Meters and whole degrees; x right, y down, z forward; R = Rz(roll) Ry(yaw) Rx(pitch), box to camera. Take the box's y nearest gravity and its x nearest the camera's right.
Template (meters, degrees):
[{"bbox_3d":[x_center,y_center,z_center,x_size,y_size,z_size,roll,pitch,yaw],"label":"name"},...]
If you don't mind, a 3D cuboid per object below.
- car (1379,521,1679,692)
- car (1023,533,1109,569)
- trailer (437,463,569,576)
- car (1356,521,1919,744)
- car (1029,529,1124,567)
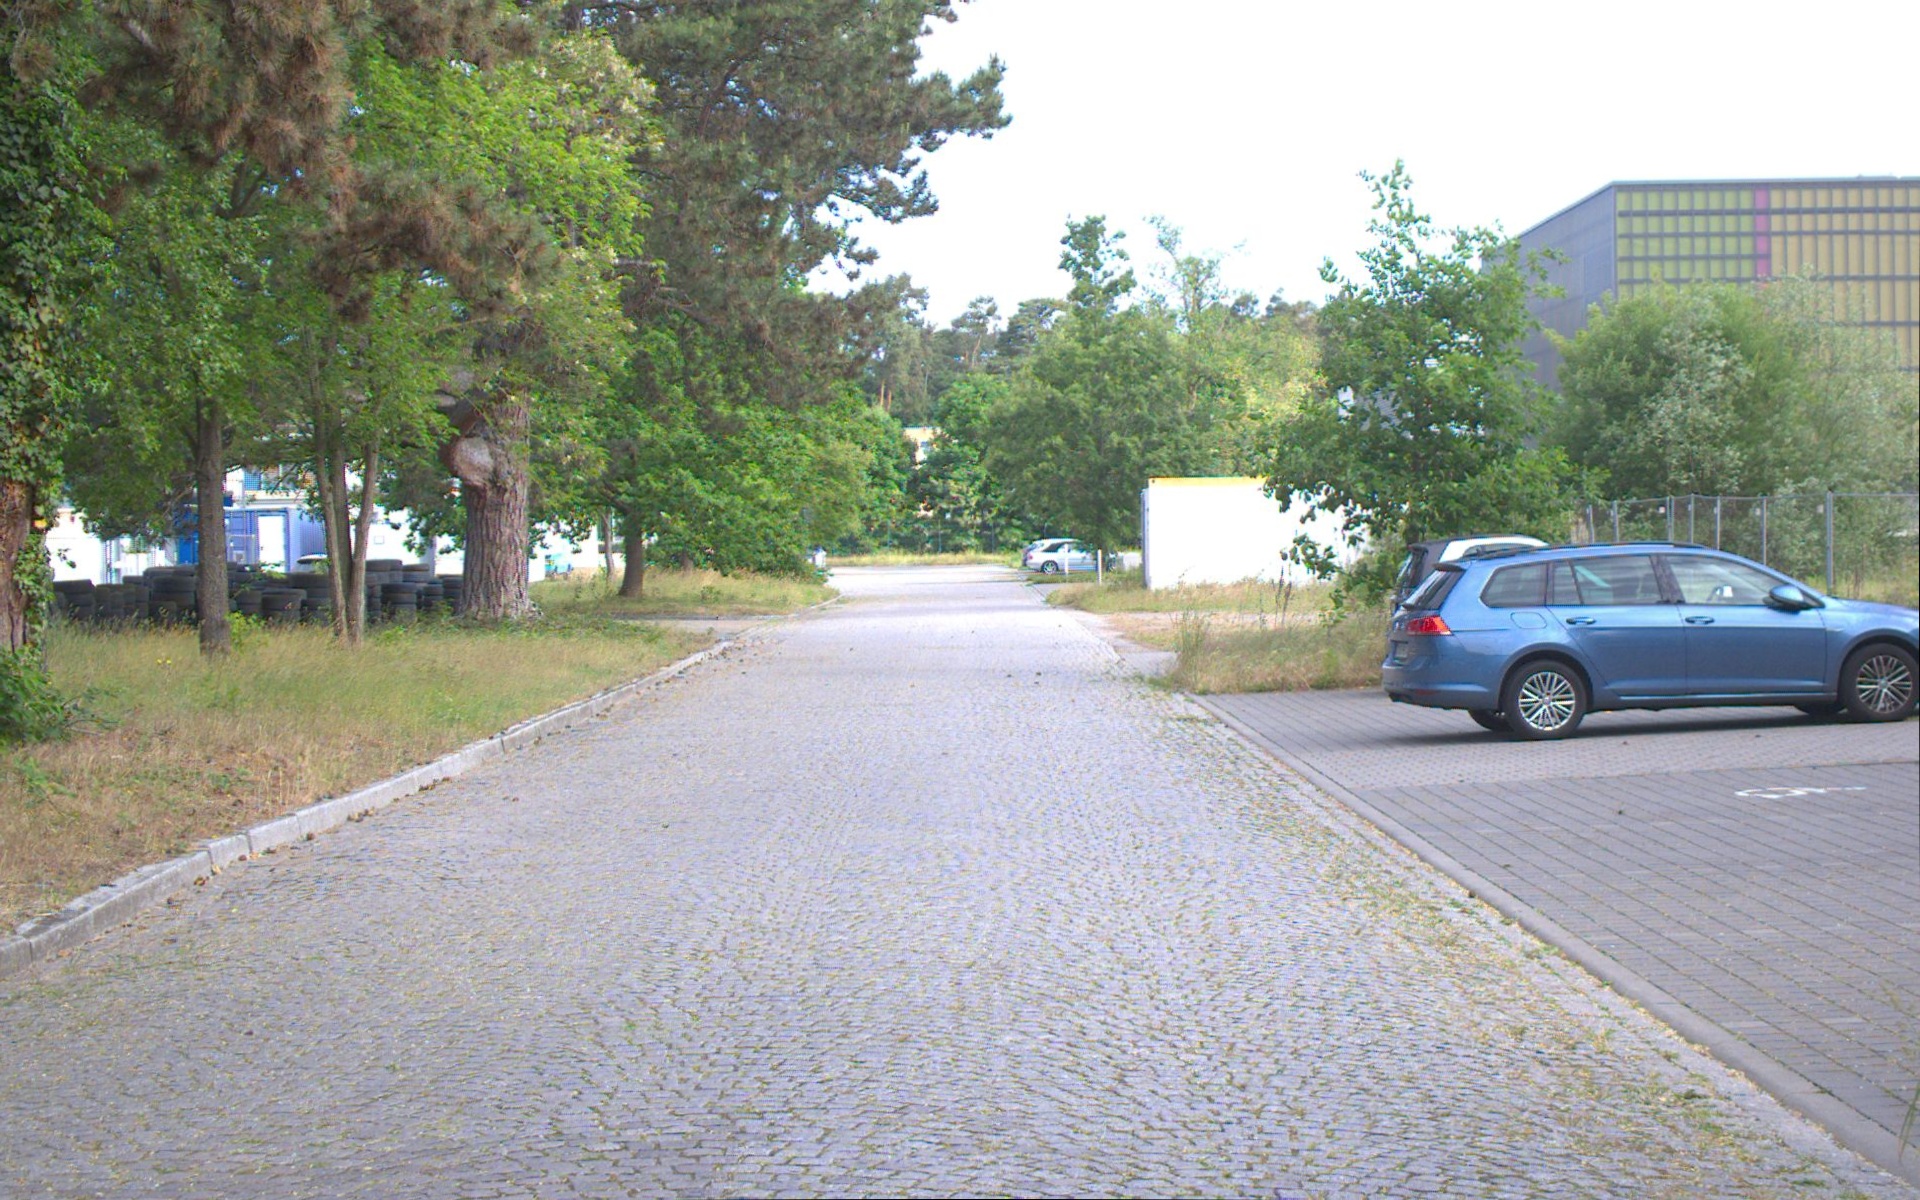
[{"bbox_3d":[5.704,0.044,34.675,2.710,1.551,1.653,-3,1,1],"label":"car"},{"bbox_3d":[4.440,-2.048,144.328,3.522,1.357,1.622,-3,1,1],"label":"car"},{"bbox_3d":[-15.098,-2.656,114.341,2.625,3.585,10.177,-1,1,2],"label":"trailer"},{"bbox_3d":[5.542,0.224,27.168,4.490,1.470,1.831,-3,1,-2],"label":"car"},{"bbox_3d":[4.980,-2.211,147.015,3.985,1.443,1.653,-3,1,1],"label":"car"}]
